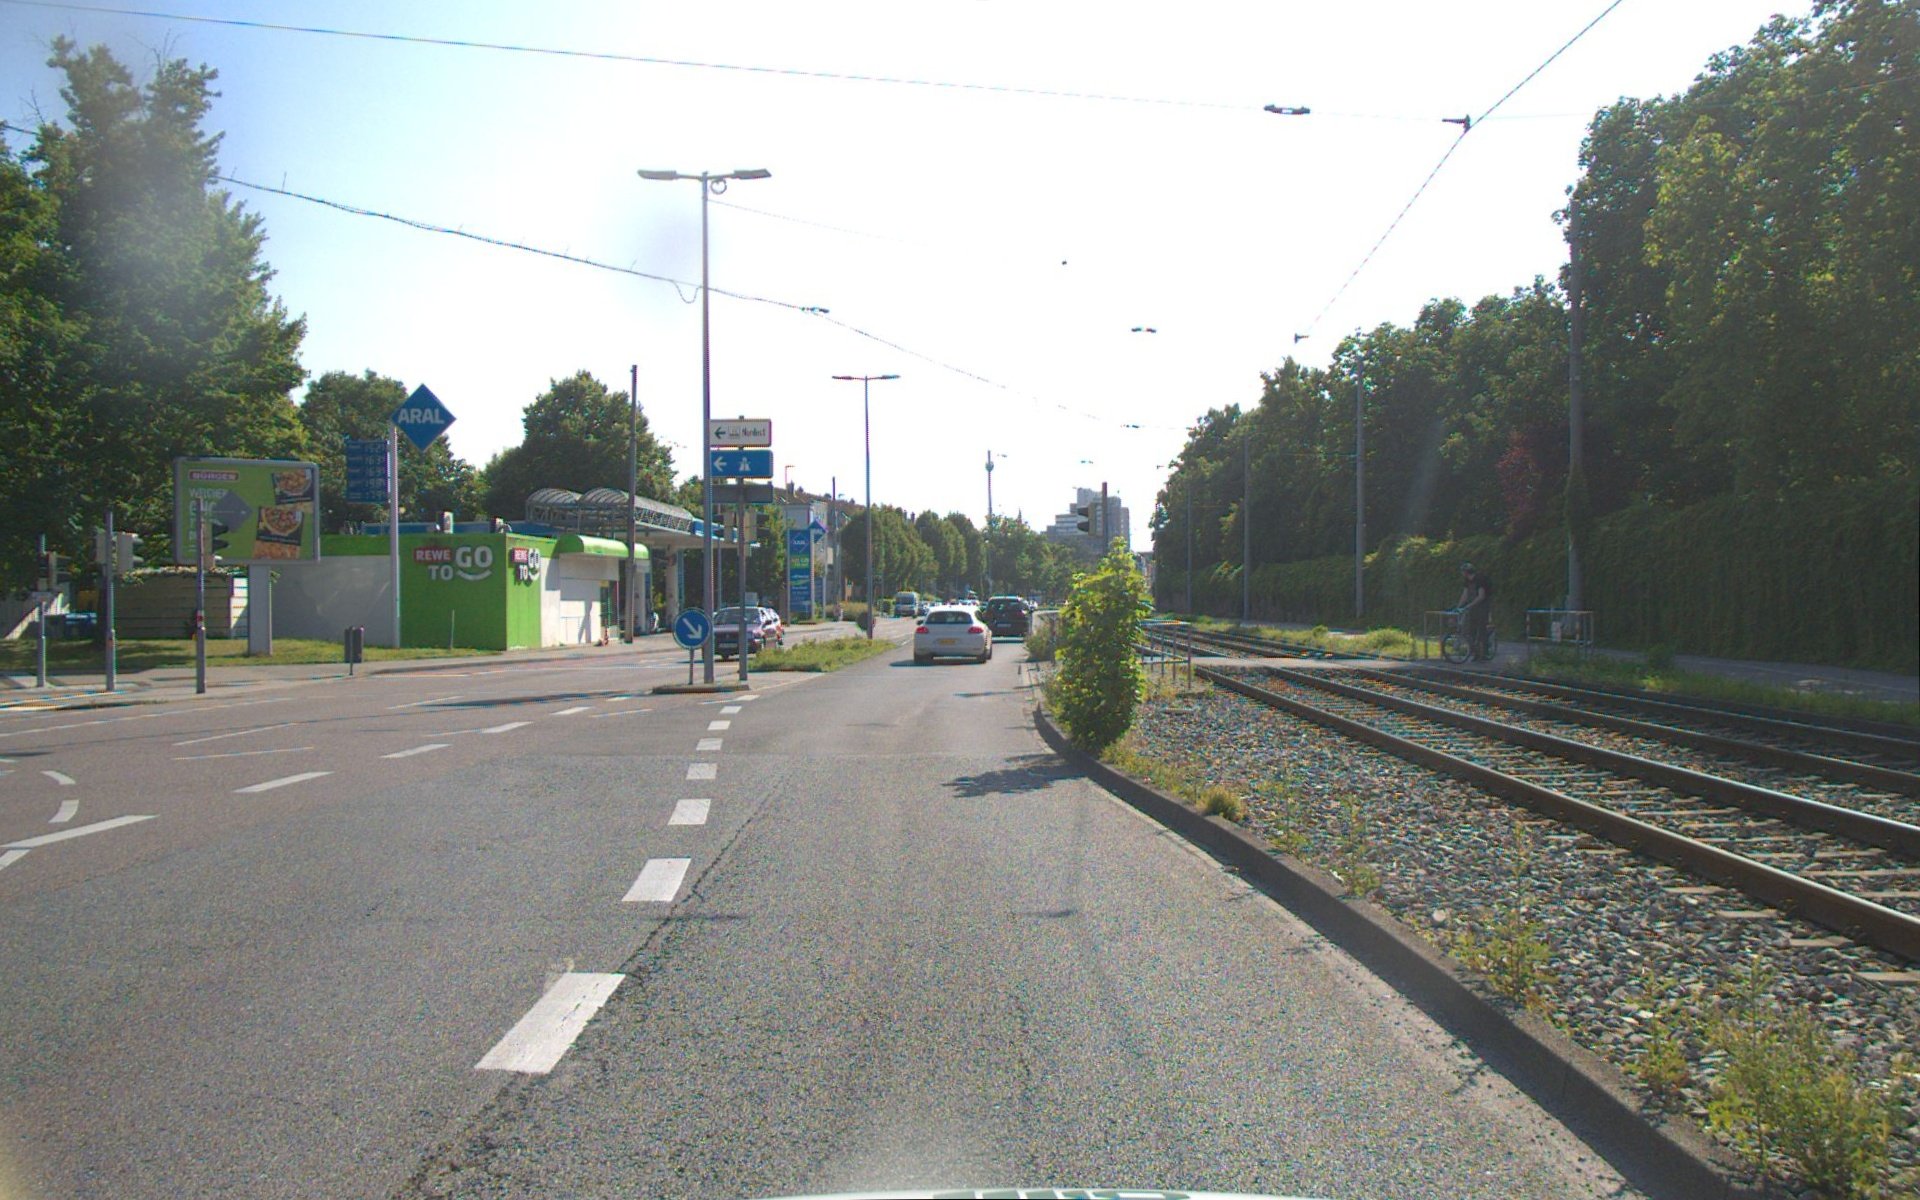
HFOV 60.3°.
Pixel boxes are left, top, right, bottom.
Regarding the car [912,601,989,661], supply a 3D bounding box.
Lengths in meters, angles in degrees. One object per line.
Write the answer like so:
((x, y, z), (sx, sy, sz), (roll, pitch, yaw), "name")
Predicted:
((-0.188, 0.745, 41.062), (1.744, 1.380, 3.602), (1, 0, 2), "car")

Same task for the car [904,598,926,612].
((-4.783, 0.523, 175.711), (1.951, 1.441, 3.846), (-1, 0, 4), "car")

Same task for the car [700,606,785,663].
((-5.899, 0.902, 45.248), (1.618, 1.420, 4.135), (-1, 0, 2), "car")

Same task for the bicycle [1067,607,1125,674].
((2.532, 0.741, 30.615), (0.629, 1.174, 1.938), (-1, 0, 17), "bicycle")

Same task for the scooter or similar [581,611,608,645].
((-13.631, 1.028, 61.737), (0.521, 1.194, 1.311), (4, 0, 5), "scooter or similar")

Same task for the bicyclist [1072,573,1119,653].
((2.506, 0.240, 30.567), (0.630, 1.441, 1.013), (-1, 0, 18), "bicyclist")

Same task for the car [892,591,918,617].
((-5.312, 0.363, 160.546), (1.951, 2.418, 4.541), (-1, 0, 5), "car")

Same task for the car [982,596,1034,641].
((1.747, 0.665, 61.471), (1.689, 1.620, 3.600), (1, 0, -2), "car")

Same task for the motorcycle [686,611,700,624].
((-20.252, 1.334, 125.368), (0.657, 0.917, 1.671), (-1, 0, 3), "motorcycle")

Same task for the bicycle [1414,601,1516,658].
((10.440, 0.601, 34.173), (1.883, 1.134, 0.947), (-1, 0, 26), "bicycle")

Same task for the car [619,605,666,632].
((-17.573, 1.016, 91.701), (1.708, 1.418, 4.121), (-1, 0, 1), "car")

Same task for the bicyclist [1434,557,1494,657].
((10.417, 0.152, 34.180), (1.013, 2.028, 0.947), (-1, 0, 26), "bicyclist")

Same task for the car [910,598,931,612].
((-4.346, 0.554, 181.588), (1.951, 1.441, 3.846), (-1, 0, 4), "car")
